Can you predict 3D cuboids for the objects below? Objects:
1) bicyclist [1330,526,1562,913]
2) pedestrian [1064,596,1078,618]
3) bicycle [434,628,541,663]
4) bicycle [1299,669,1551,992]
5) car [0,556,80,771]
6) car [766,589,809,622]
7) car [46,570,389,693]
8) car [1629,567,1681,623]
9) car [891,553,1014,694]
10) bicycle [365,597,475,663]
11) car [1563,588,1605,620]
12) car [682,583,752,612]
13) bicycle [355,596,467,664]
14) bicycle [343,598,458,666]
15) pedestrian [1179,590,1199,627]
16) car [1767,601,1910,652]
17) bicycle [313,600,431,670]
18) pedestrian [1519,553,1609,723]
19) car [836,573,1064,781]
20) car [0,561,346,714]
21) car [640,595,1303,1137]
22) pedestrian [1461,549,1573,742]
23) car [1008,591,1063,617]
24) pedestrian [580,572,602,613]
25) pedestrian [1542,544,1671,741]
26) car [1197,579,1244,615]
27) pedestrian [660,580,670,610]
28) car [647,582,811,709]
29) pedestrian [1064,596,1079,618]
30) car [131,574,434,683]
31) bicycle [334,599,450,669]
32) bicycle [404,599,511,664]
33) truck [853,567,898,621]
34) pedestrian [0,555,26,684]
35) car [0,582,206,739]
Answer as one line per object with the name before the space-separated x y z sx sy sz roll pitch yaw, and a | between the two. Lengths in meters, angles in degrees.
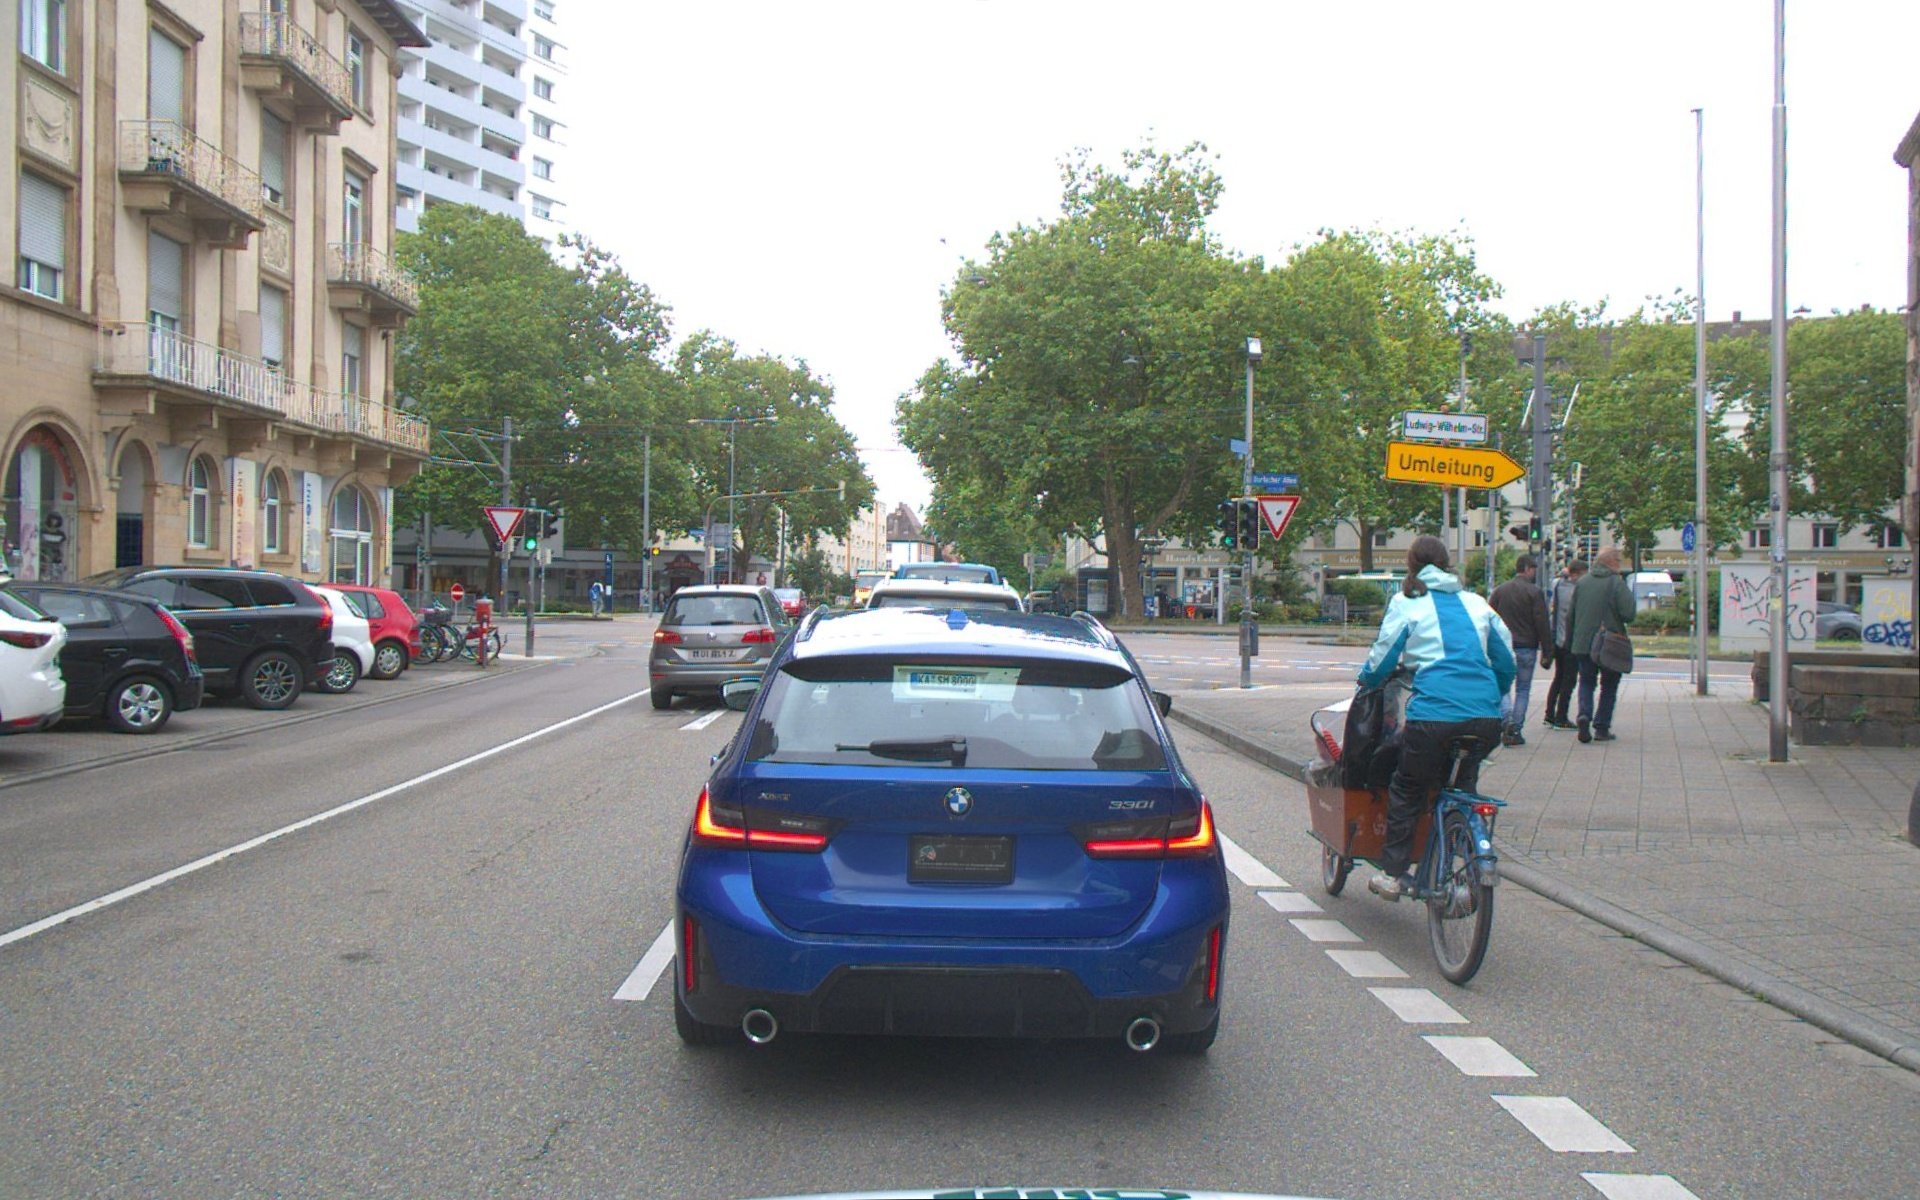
bicyclist | 2.062 0.474 7.140 0.672 1.544 1.058 0 0 -1
pedestrian | 6.962 0.419 104.082 0.801 1.396 0.762 0 0 -1
bicycle | -9.475 0.913 33.235 1.849 0.453 1.028 6 2 -3
bicycle | 1.986 0.920 7.347 0.484 1.117 2.138 0 0 -1
car | -9.596 0.483 13.692 3.937 1.754 1.826 1 0 -26
car | -7.792 0.236 74.872 1.615 1.472 3.510 0 0 -1
car | -10.102 0.464 22.690 3.968 1.498 1.540 3 0 -44
car | 34.932 -0.267 83.017 2.191 2.685 5.443 1 0 25
car | -0.132 0.327 26.074 1.778 2.040 3.999 0 0 -1
bicycle | -10.322 0.573 31.634 1.849 1.053 0.442 6 0 -3
car | 30.770 0.182 81.476 1.632 1.542 3.935 1 0 25
car | -15.409 -0.170 104.978 3.953 1.736 1.976 1 0 -35
bicycle | -10.276 0.559 30.999 1.849 1.053 0.442 6 0 -3
bicycle | -10.248 0.583 30.338 1.849 1.053 0.442 6 0 -3
pedestrian | 11.174 0.425 80.739 0.768 1.774 0.925 0 0 -2
car | 28.170 0.835 53.165 3.895 1.589 1.687 0 0 22
bicycle | -10.302 0.606 28.985 1.848 1.053 0.442 5 0 2
pedestrian | 6.291 0.381 17.267 0.619 1.702 0.970 -2 0 6
car | -0.108 0.588 14.967 1.778 1.620 3.999 0 0 -1
car | -9.845 0.426 20.037 4.192 1.680 1.704 1 0 -44
car | 0.004 0.712 6.610 1.778 1.430 4.319 0 0 -1
pedestrian | 5.154 0.402 15.357 0.660 1.715 0.969 -2 0 -1
car | 5.310 0.277 115.991 3.802 1.771 1.762 0 0 2
pedestrian | -16.169 -0.332 72.462 0.664 1.802 0.722 0 0 41
pedestrian | 6.106 0.385 15.674 0.788 1.789 0.969 -2 0 -1
car | 16.976 -0.194 107.684 2.130 2.239 3.999 0 0 23
pedestrian | -17.929 -0.311 100.449 0.561 1.802 0.513 0 0 -13
car | -3.028 0.547 22.401 1.697 1.551 3.999 0 0 -1
pedestrian | 6.968 0.444 103.201 0.835 1.337 0.762 0 0 -1
car | -10.360 0.433 25.507 1.653 1.498 3.978 3 1 40
bicycle | -10.226 0.604 29.802 1.849 1.053 0.442 6 0 -3
bicycle | -9.778 0.613 32.190 1.849 1.053 0.442 6 0 -3
truck | -3.956 -0.301 77.633 2.033 2.450 5.460 0 1 -3
pedestrian | -13.768 0.265 23.592 0.555 1.816 0.551 0 0 0
car | -9.943 0.580 16.701 3.959 1.521 1.708 1 0 -39
